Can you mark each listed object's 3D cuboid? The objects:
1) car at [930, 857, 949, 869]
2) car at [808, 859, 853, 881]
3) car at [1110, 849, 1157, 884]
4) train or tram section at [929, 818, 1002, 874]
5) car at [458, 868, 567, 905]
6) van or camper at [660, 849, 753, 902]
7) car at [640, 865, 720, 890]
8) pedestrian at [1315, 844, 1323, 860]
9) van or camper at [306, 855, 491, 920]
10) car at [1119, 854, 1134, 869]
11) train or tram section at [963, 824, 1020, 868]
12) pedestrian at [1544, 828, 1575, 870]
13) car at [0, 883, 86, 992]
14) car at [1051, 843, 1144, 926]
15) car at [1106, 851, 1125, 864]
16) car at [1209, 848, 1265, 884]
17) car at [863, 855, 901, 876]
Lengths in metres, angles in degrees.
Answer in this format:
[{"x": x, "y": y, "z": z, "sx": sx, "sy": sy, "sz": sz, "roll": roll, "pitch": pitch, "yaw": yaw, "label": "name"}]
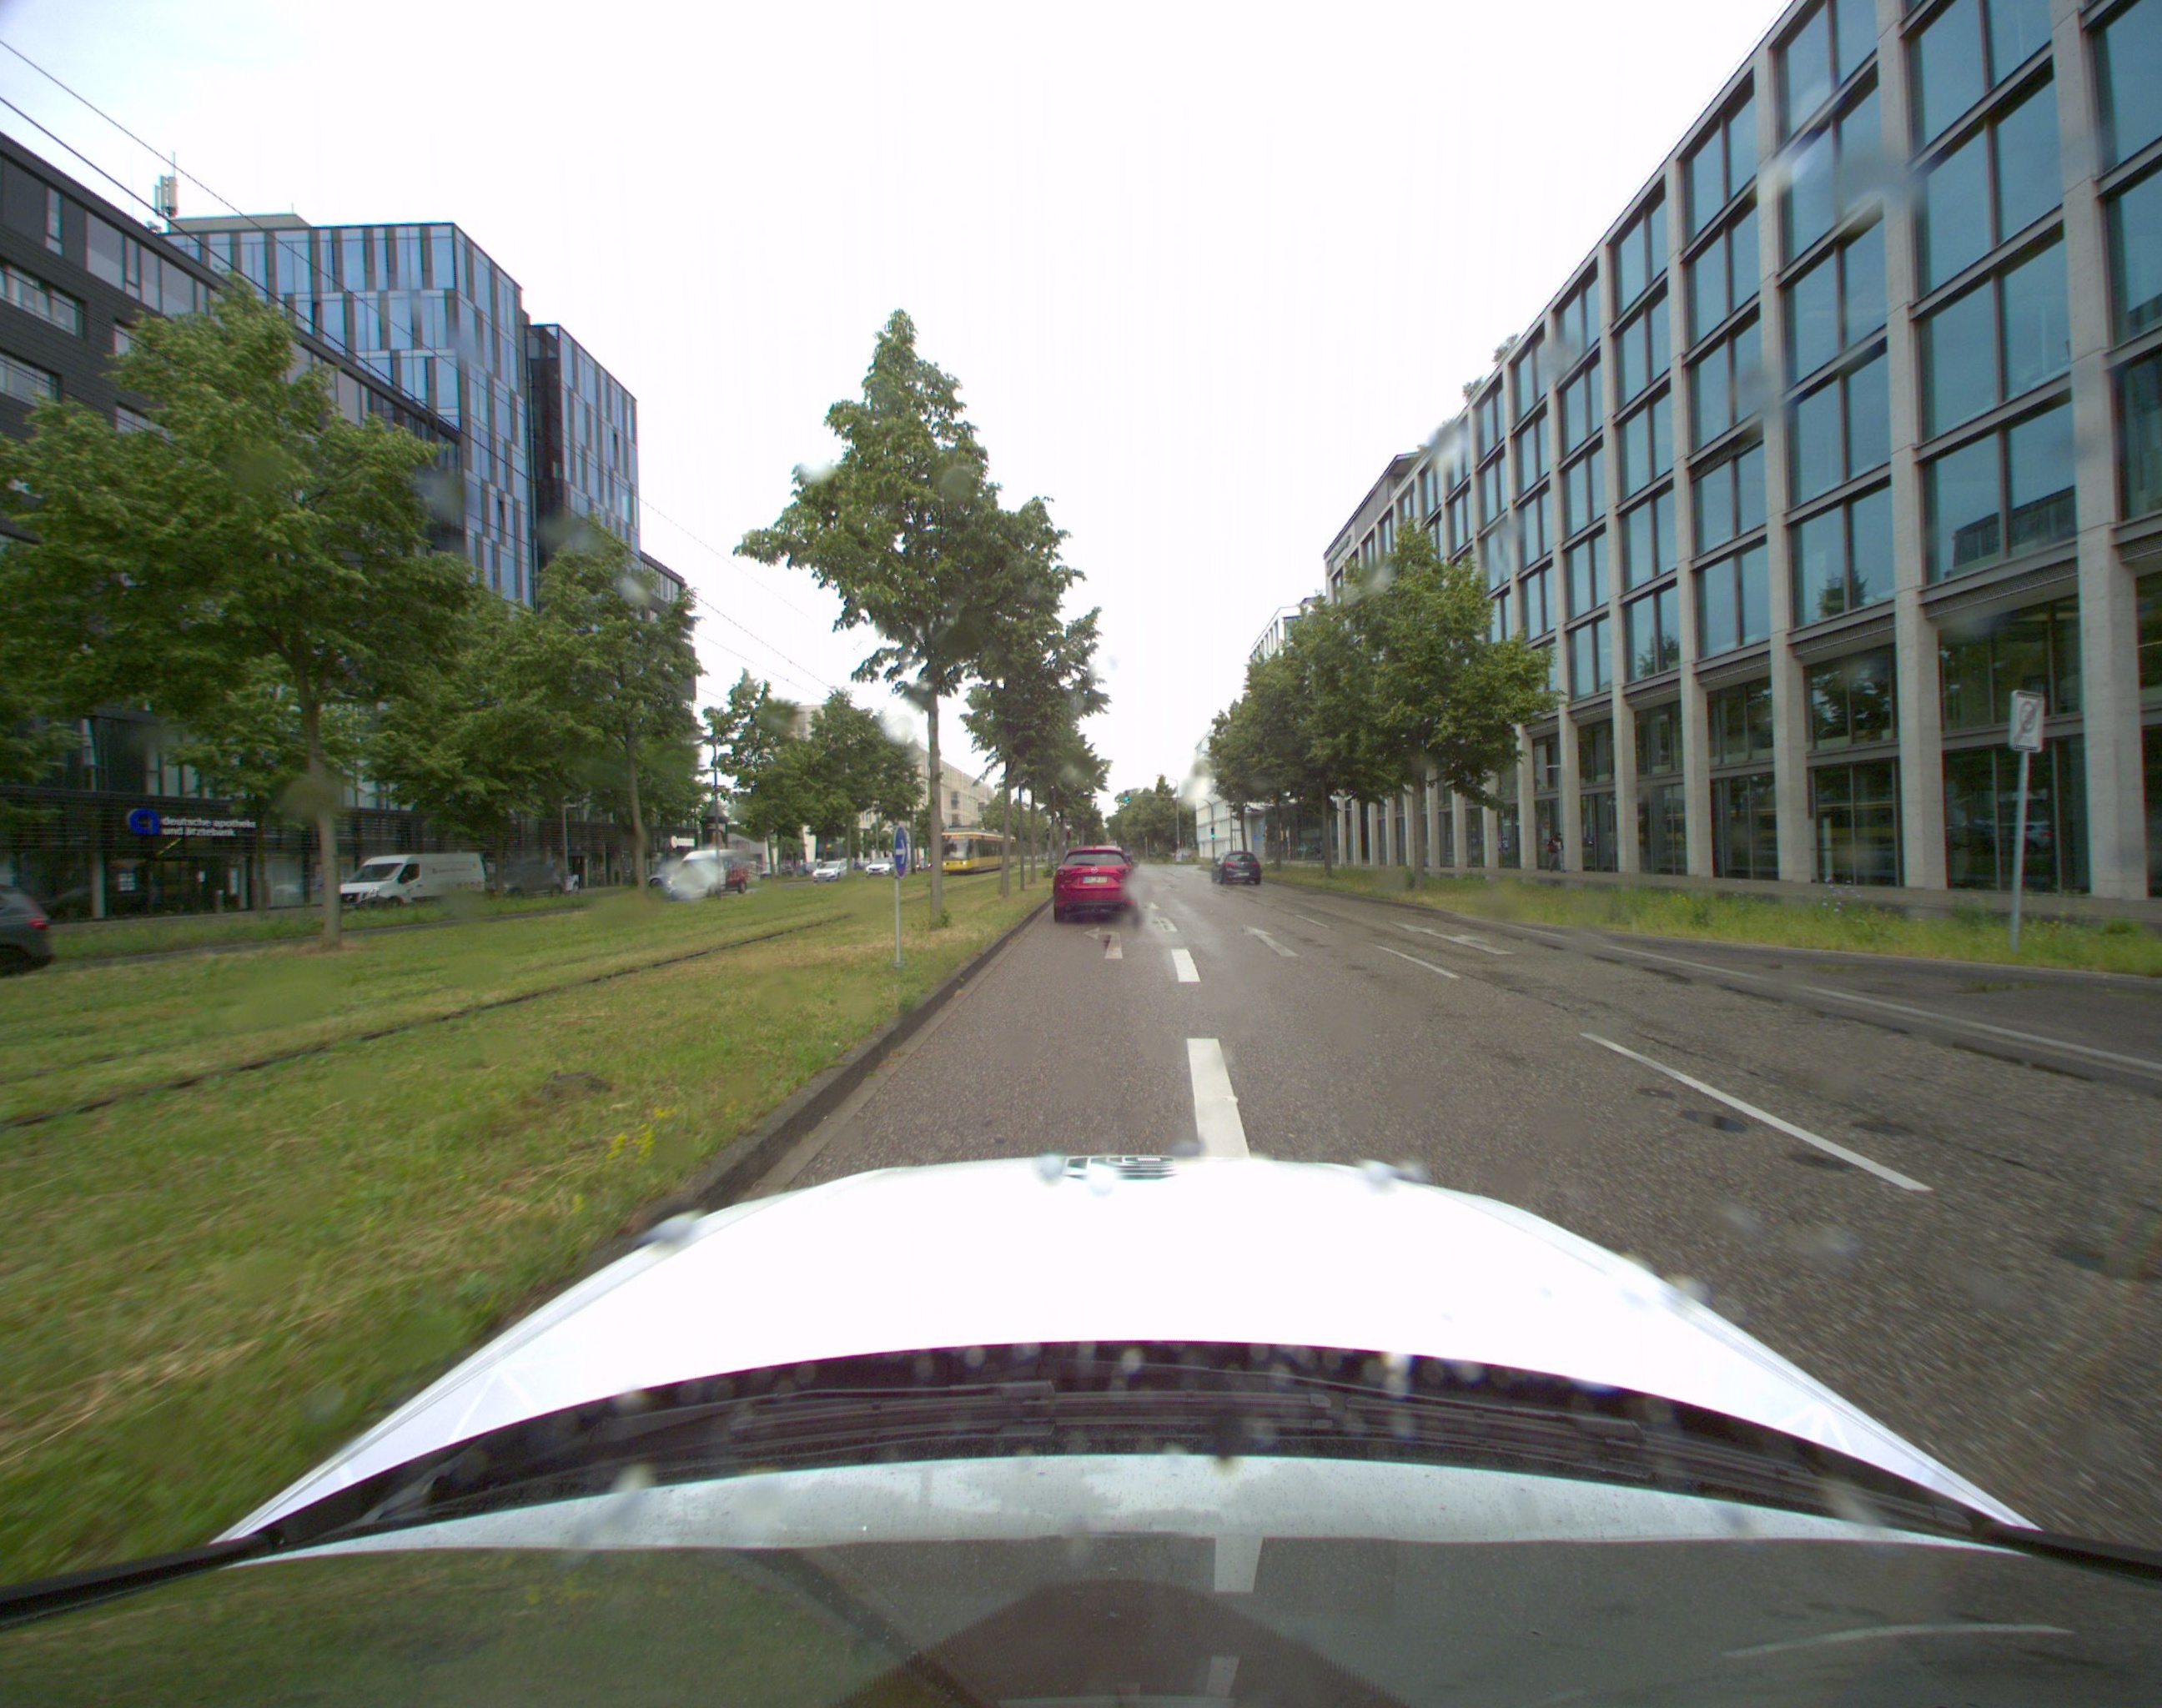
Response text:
[{"x": -20.062, "y": 1.285, "z": 115.849, "sx": 1.987, "sy": 1.618, "sz": 4.000, "roll": -2, "pitch": 0, "yaw": 0, "label": "car"}, {"x": -18.114, "y": 1.129, "z": 59.058, "sx": 1.878, "sy": 1.459, "sz": 4.002, "roll": -2, "pitch": 0, "yaw": 2, "label": "car"}, {"x": 2.430, "y": 0.533, "z": 36.942, "sx": 1.949, "sy": 1.465, "sz": 3.788, "roll": -1, "pitch": 0, "yaw": 6, "label": "car"}, {"x": -8.405, "y": -0.588, "z": 61.411, "sx": 3.117, "sy": 3.658, "sz": 13.411, "roll": -1, "pitch": 0, "yaw": 2, "label": "train or tram section"}, {"x": -27.294, "y": 1.503, "z": 39.328, "sx": 1.987, "sy": 1.521, "sz": 4.607, "roll": -2, "pitch": 0, "yaw": 0, "label": "car"}, {"x": -18.544, "y": 0.998, "z": 40.639, "sx": 1.902, "sy": 2.410, "sz": 5.405, "roll": -2, "pitch": 0, "yaw": 2, "label": "van or camper"}, {"x": -28.190, "y": 1.653, "z": 57.320, "sx": 4.703, "sy": 1.521, "sz": 1.977, "roll": -2, "pitch": 0, "yaw": -38, "label": "car"}, {"x": 27.130, "y": -0.228, "z": 92.845, "sx": 0.774, "sy": 1.707, "sz": 0.684, "roll": -1, "pitch": 0, "yaw": 27, "label": "pedestrian"}, {"x": -27.539, "y": 1.262, "z": 33.256, "sx": 2.424, "sy": 2.315, "sz": 5.852, "roll": -2, "pitch": 0, "yaw": 2, "label": "van or camper"}, {"x": 6.510, "y": 1.040, "z": 116.961, "sx": 1.986, "sy": 2.013, "sz": 4.002, "roll": -2, "pitch": 0, "yaw": 1, "label": "car"}, {"x": -8.005, "y": -0.734, "z": 75.605, "sx": 3.117, "sy": 3.658, "sz": 15.070, "roll": -1, "pitch": 0, "yaw": 2, "label": "train or tram section"}, {"x": 20.134, "y": -0.216, "z": 34.280, "sx": 0.714, "sy": 1.714, "sz": 0.861, "roll": -4, "pitch": 0, "yaw": 1, "label": "pedestrian"}, {"x": -16.565, "y": 1.269, "z": 10.483, "sx": 1.856, "sy": 1.524, "sz": 4.481, "roll": -2, "pitch": 0, "yaw": 2, "label": "car"}, {"x": 0.378, "y": 0.617, "z": 18.862, "sx": 1.891, "sy": 1.677, "sz": 4.001, "roll": -1, "pitch": 0, "yaw": 1, "label": "car"}, {"x": 3.786, "y": 0.351, "z": 89.961, "sx": 1.960, "sy": 1.437, "sz": 4.554, "roll": 0, "pitch": 0, "yaw": 2, "label": "car"}, {"x": 6.852, "y": 0.499, "z": 36.133, "sx": 1.738, "sy": 1.465, "sz": 3.781, "roll": -1, "pitch": 0, "yaw": 0, "label": "car"}, {"x": -14.904, "y": 0.818, "z": 61.225, "sx": 1.704, "sy": 1.404, "sz": 4.002, "roll": -2, "pitch": 0, "yaw": 2, "label": "car"}]
